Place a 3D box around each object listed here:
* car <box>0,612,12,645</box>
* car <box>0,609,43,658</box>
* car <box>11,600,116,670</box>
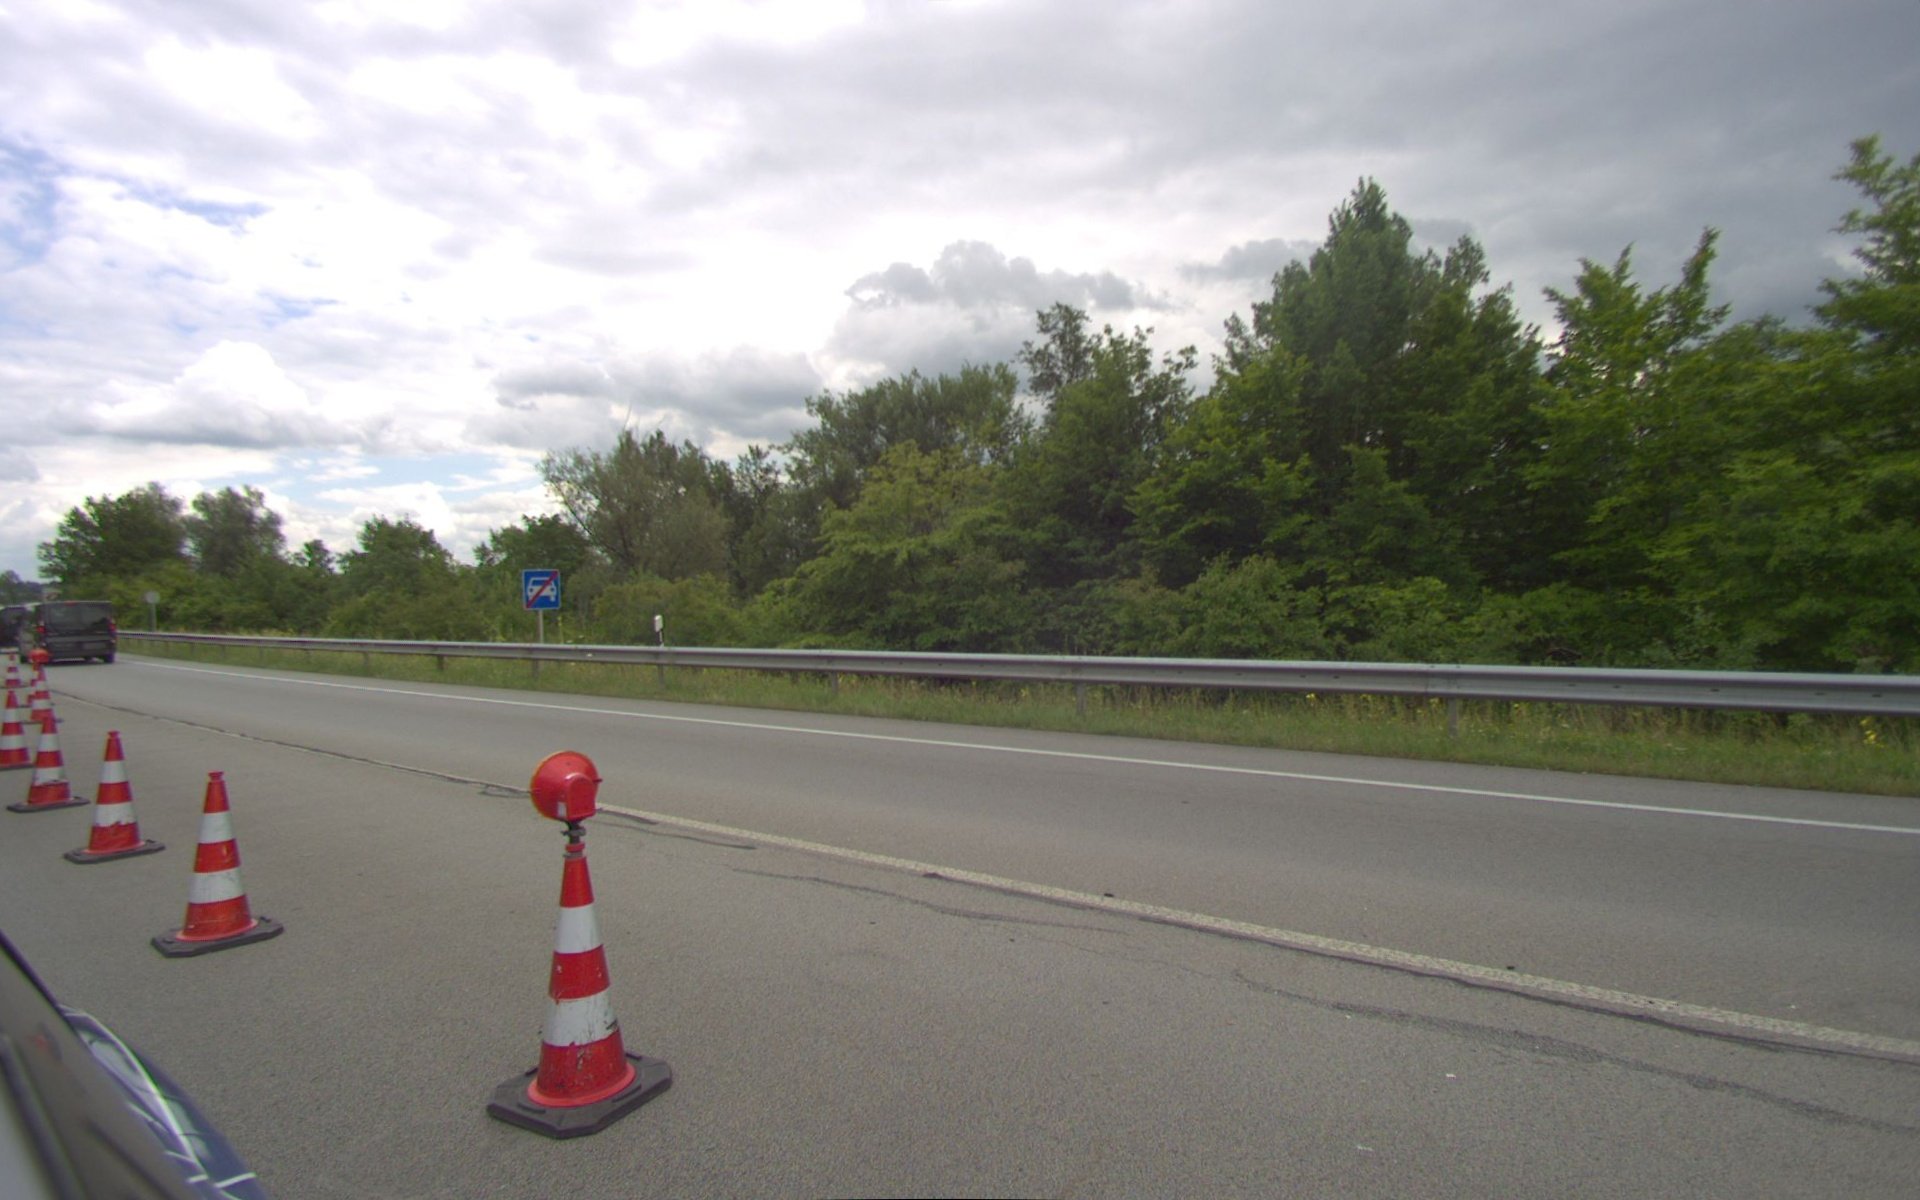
[{"bbox_3d":[-56.303,1.661,58.522,4.532,1.844,1.903,-1,-1,43],"label":"car"},{"bbox_3d":[-39.085,1.363,41.414,4.532,1.898,1.945,-1,-1,43],"label":"car"},{"bbox_3d":[-28.085,1.053,31.634,5.317,2.002,2.006,-1,-1,44],"label":"car"}]
